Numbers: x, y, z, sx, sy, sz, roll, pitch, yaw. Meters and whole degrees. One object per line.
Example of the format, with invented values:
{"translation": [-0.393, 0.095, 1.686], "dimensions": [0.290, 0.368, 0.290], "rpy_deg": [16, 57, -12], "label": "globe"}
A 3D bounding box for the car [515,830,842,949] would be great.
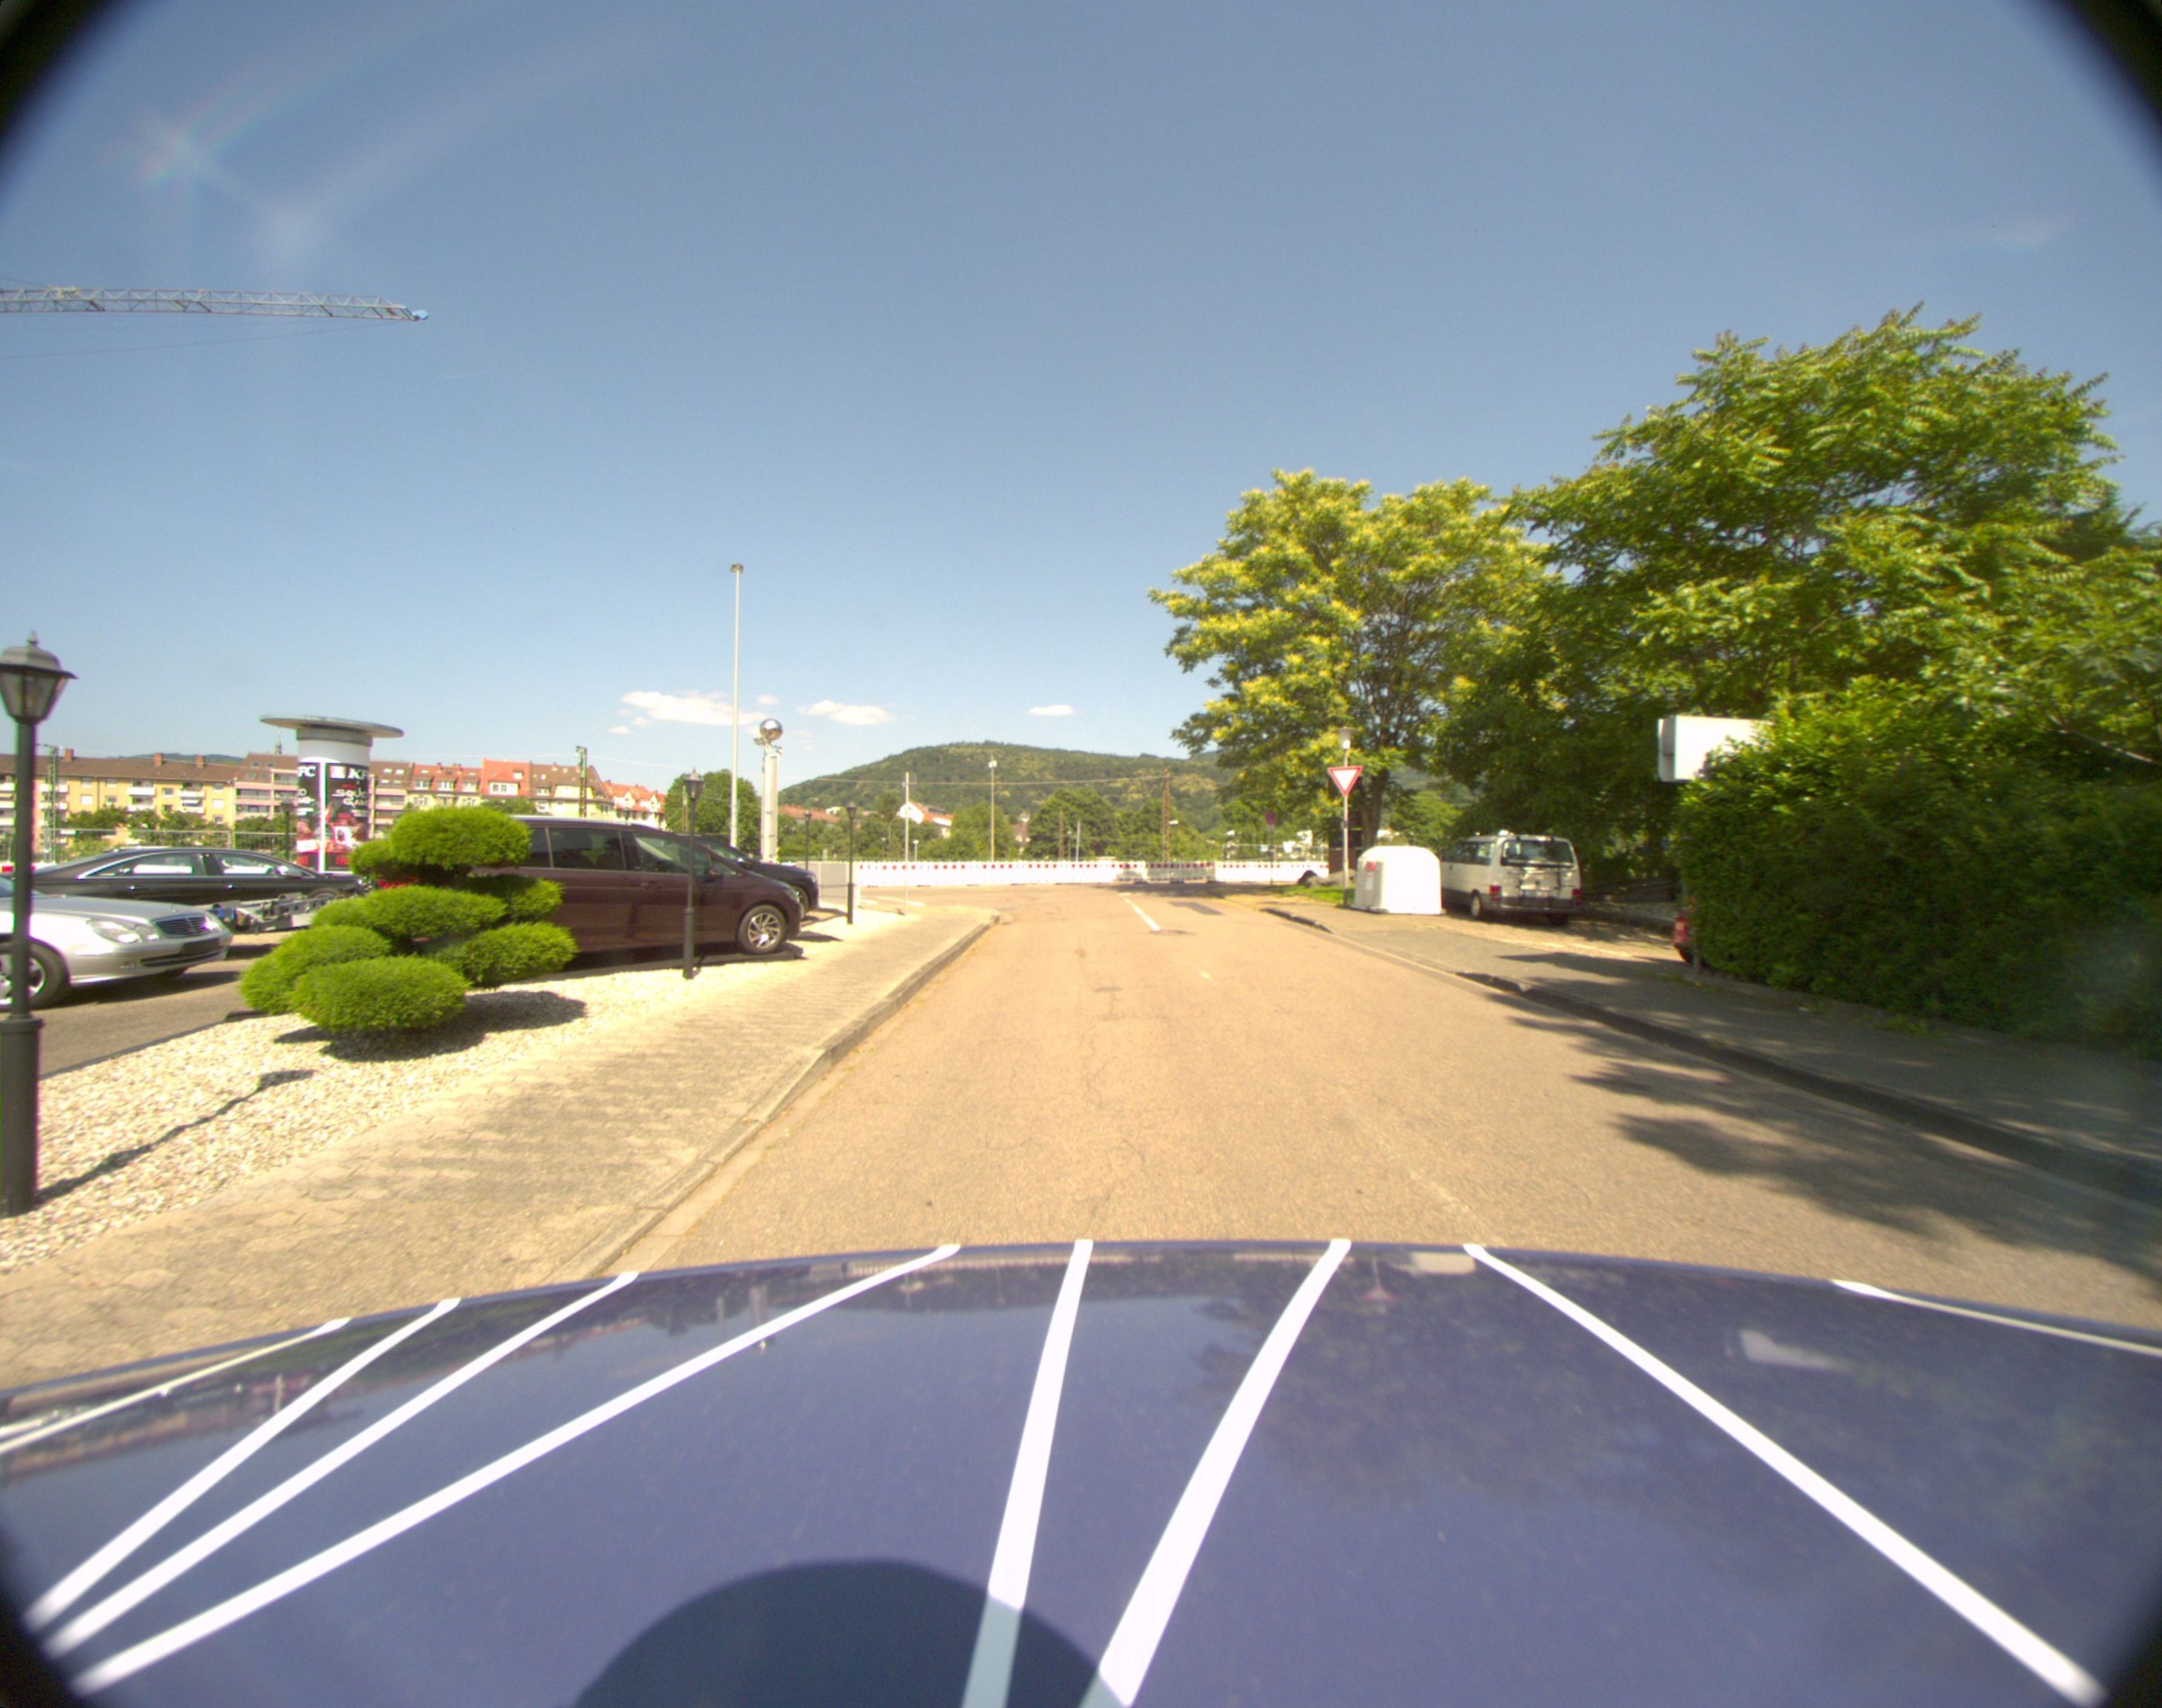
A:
{"translation": [-7.028, 0.515, 13.782], "dimensions": [2.011, 1.769, 4.828], "rpy_deg": [1, 1, 39], "label": "car"}

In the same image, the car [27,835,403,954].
{"translation": [-14.396, 0.572, 12.976], "dimensions": [1.855, 1.696, 4.009], "rpy_deg": [1, 1, 42], "label": "car"}

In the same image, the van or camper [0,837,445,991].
{"translation": [-11.196, 0.642, 9.947], "dimensions": [4.302, 1.674, 1.994], "rpy_deg": [0, 1, -37], "label": "van or camper"}

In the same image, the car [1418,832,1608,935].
{"translation": [9.663, 0.505, 17.597], "dimensions": [1.997, 1.920, 5.102], "rpy_deg": [2, 2, 8], "label": "car"}

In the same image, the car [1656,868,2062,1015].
{"translation": [9.941, 1.060, 9.949], "dimensions": [3.420, 1.457, 1.651], "rpy_deg": [4, 1, 3], "label": "car"}

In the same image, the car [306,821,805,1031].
{"translation": [-5.589, 0.585, 8.665], "dimensions": [1.847, 1.772, 4.299], "rpy_deg": [1, 1, 36], "label": "car"}

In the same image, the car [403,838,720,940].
{"translation": [-10.007, 0.562, 15.165], "dimensions": [2.012, 1.682, 4.826], "rpy_deg": [1, 1, 26], "label": "car"}

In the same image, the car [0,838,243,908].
{"translation": [-24.608, 0.428, 19.347], "dimensions": [4.007, 1.630, 1.995], "rpy_deg": [0, 1, -34], "label": "car"}

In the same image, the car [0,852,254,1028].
{"translation": [-11.072, 0.750, 7.013], "dimensions": [4.212, 1.525, 1.921], "rpy_deg": [0, 1, -23], "label": "car"}
